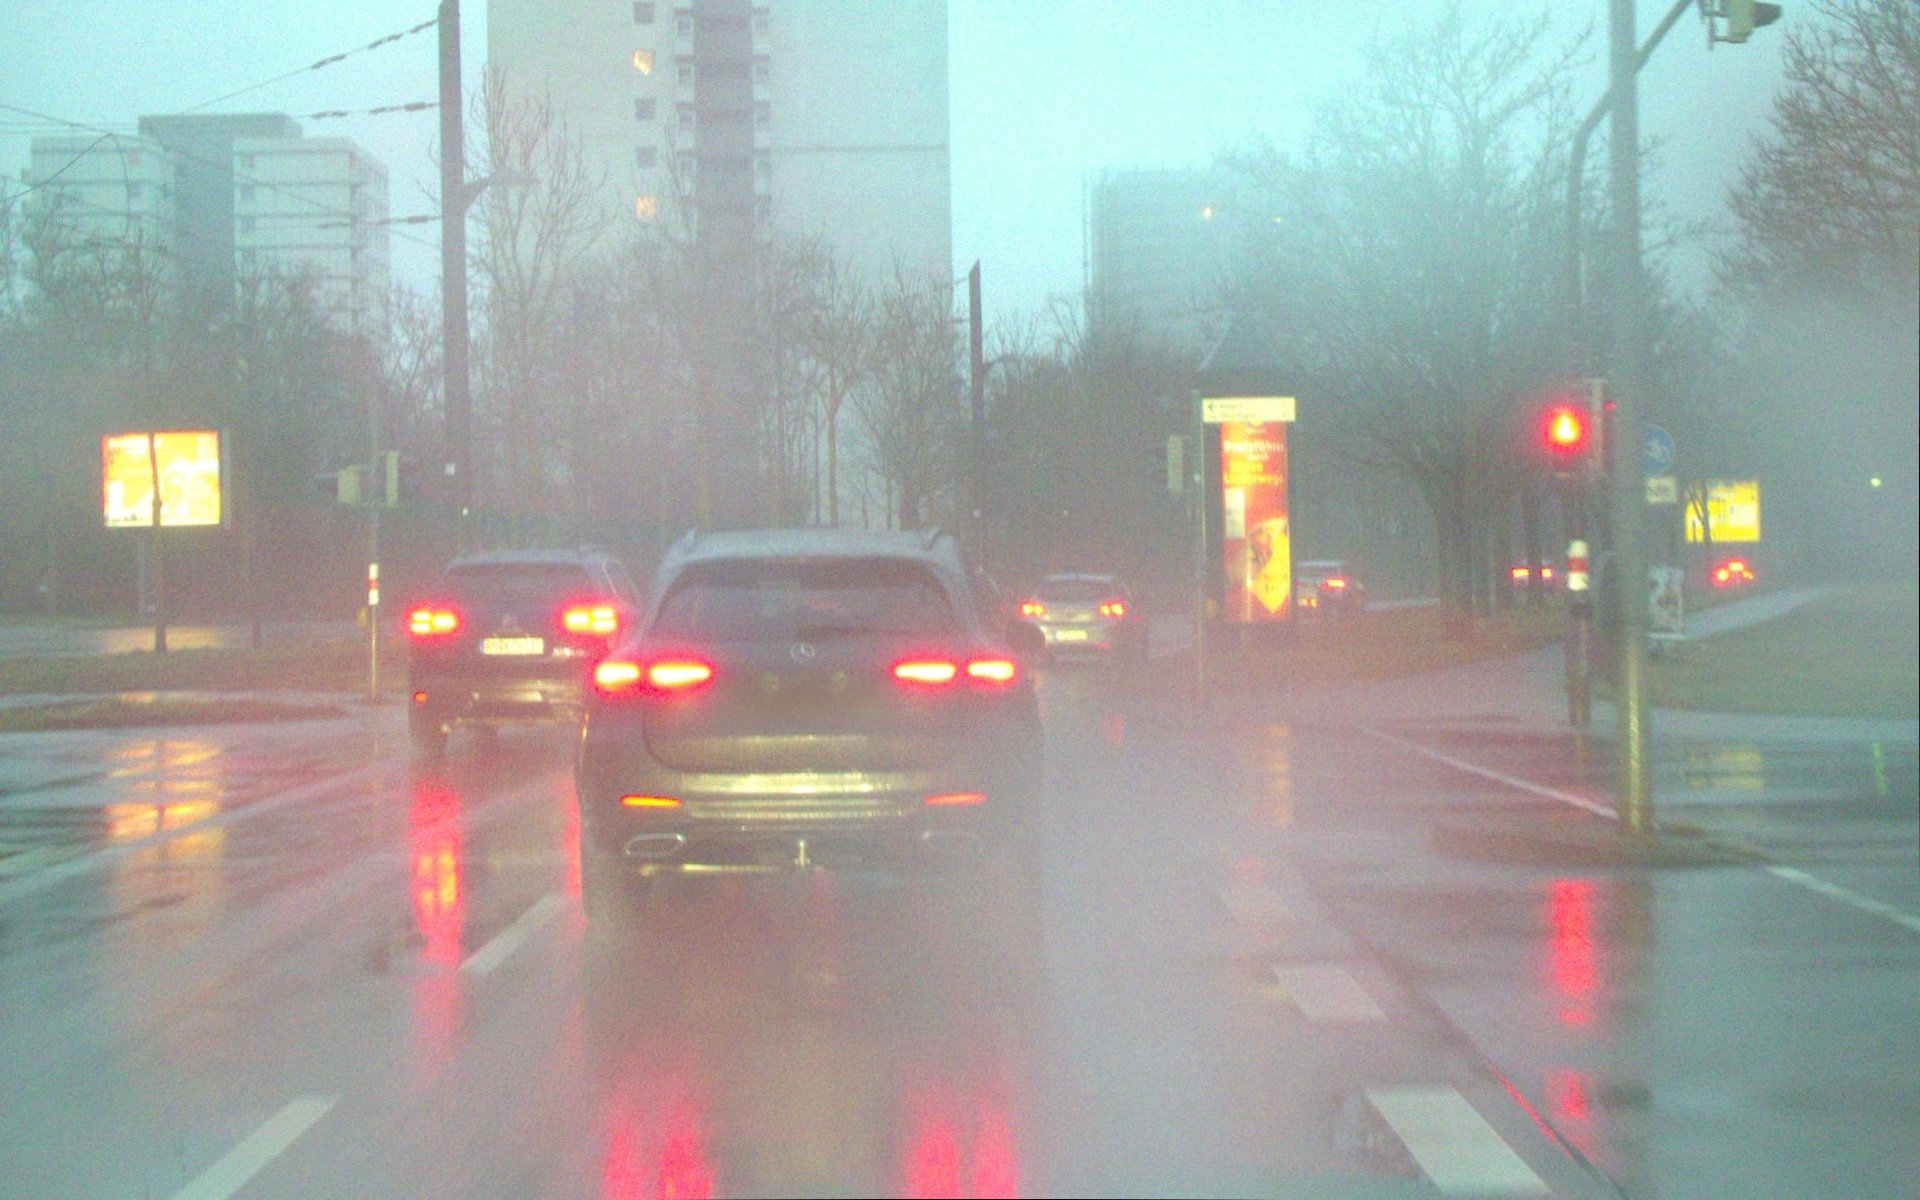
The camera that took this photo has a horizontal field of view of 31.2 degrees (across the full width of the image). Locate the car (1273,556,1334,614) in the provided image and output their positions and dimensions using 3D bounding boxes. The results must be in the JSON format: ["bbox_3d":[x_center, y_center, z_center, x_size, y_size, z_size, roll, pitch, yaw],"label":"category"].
[{"bbox_3d":[9.254,-0.392,92.823,1.535,1.508,3.342,1,0,4],"label":"car"}]

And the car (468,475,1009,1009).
[{"bbox_3d":[-0.839,0.540,14.851,1.993,1.969,4.068,1,0,0],"label":"car"}]

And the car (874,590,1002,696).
[{"bbox_3d":[-0.372,0.776,63.601,1.773,1.885,3.641,1,0,9],"label":"car"}]

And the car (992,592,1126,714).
[{"bbox_3d":[1.647,0.847,55.796,1.857,1.885,3.999,1,0,6],"label":"car"}]

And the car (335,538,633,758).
[{"bbox_3d":[-3.955,0.392,29.229,1.993,1.706,4.325,1,0,-1],"label":"car"}]
